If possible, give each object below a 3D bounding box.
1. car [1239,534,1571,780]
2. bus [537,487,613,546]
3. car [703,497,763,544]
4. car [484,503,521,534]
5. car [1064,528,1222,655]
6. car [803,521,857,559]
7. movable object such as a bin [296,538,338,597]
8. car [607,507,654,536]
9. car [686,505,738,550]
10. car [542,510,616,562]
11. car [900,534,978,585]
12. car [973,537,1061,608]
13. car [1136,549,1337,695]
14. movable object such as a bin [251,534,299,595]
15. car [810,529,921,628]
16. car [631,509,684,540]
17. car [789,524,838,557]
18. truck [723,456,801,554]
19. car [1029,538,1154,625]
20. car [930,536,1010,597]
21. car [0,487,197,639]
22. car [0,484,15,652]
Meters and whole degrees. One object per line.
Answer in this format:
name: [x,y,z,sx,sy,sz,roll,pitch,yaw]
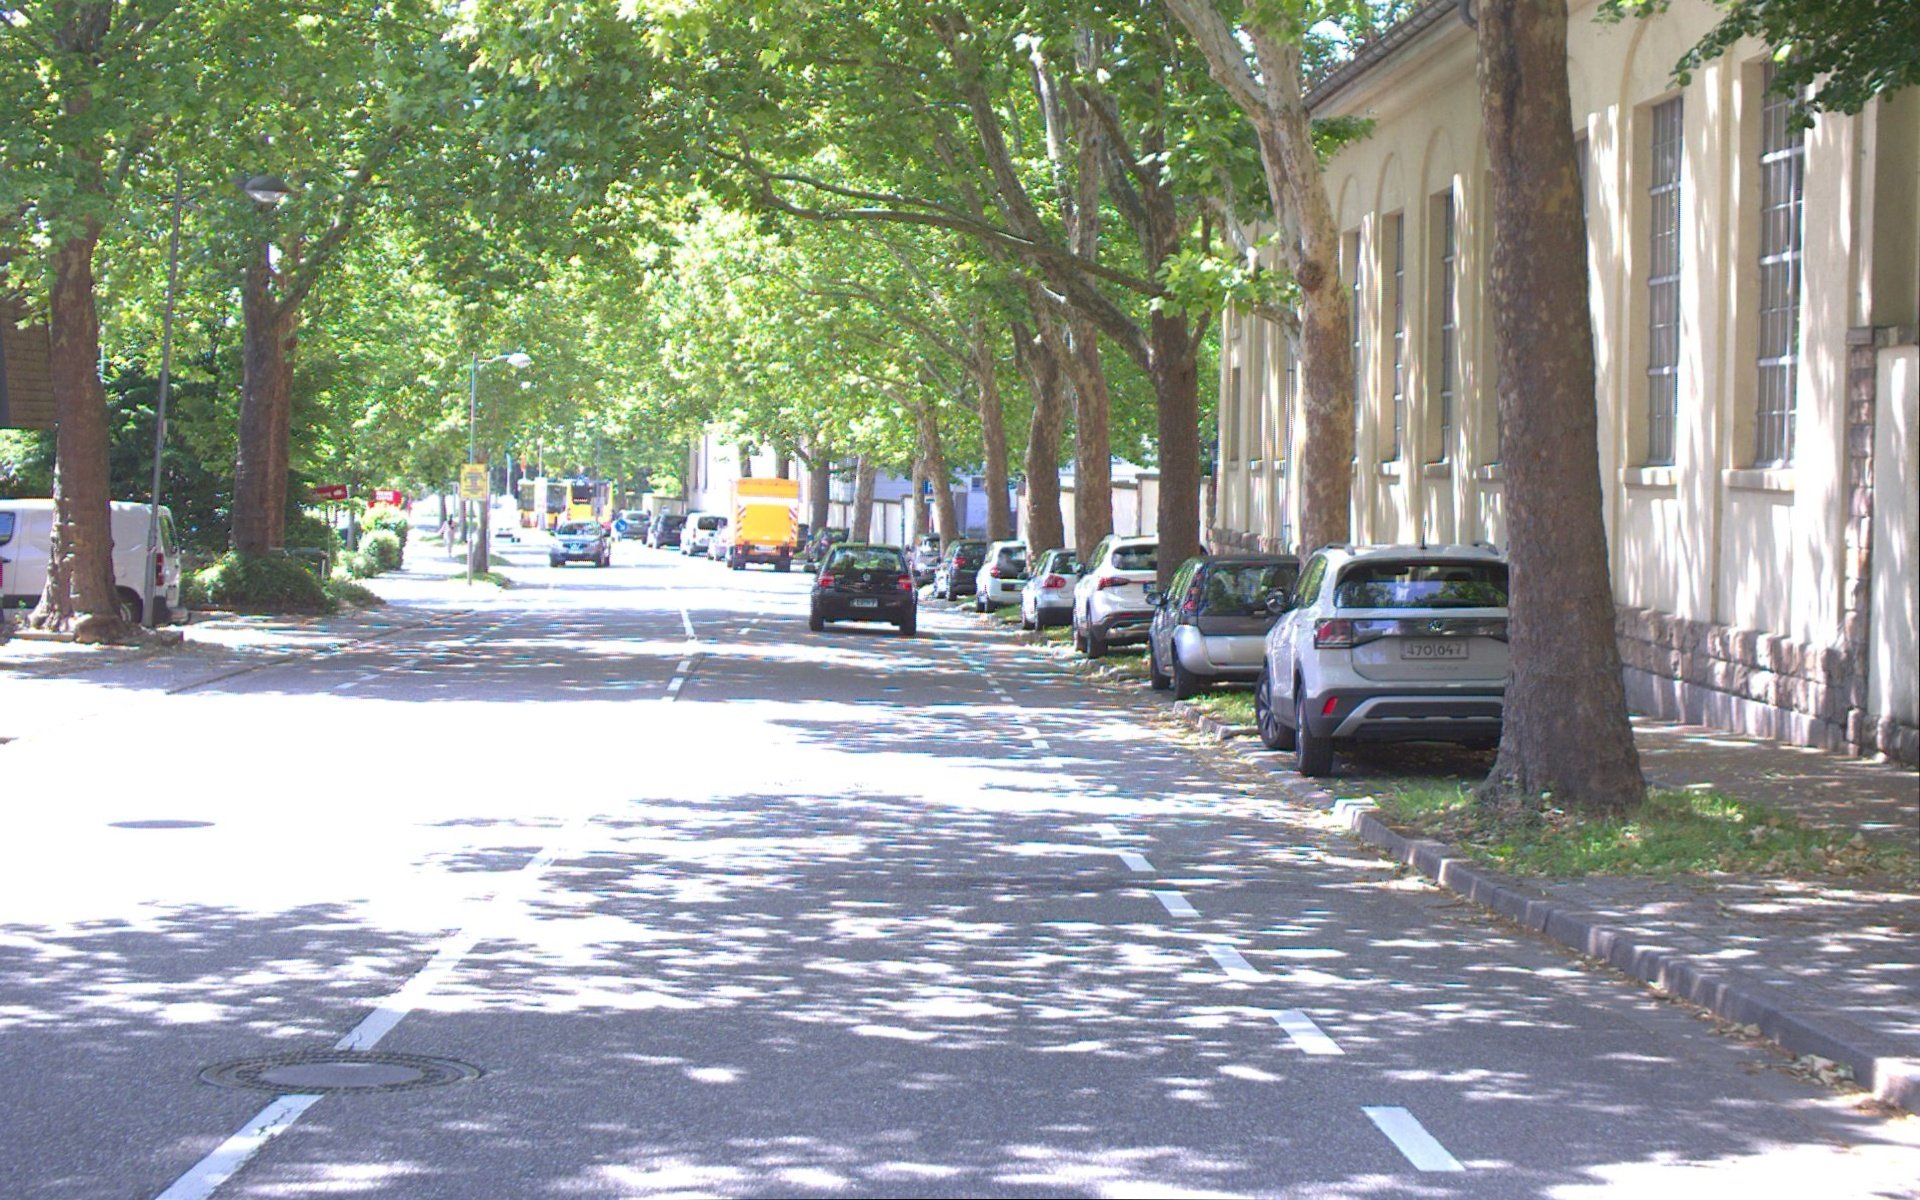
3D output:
car: [3.098,0.327,24.821,1.741,1.552,4.780,0,2,0]
bus: [-21.707,-4.655,193.193,2.663,3.140,11.201,1,1,-14]
car: [-8.744,-3.051,132.218,1.879,1.680,4.001,2,0,-9]
car: [-21.927,-3.897,164.868,1.710,1.442,4.059,1,1,-7]
car: [2.513,-0.158,48.236,1.807,1.683,4.752,0,1,-2]
car: [-4.966,-2.281,130.968,1.766,1.369,3.731,2,1,-7]
movable object such as a bin: [-11.681,-0.601,62.468,0.623,1.045,0.620,2,1,0]
car: [-16.027,-3.798,167.032,1.766,1.369,3.731,0,1,-14]
car: [-10.156,-2.954,140.555,1.879,1.680,4.001,2,0,-7]
car: [-13.105,-2.201,118.550,1.993,1.660,4.000,2,0,1]
car: [-0.590,-1.145,95.393,1.766,1.369,3.731,0,1,-6]
car: [1.191,-0.613,73.216,1.577,1.461,3.876,0,1,-3]
car: [2.855,0.186,36.306,1.621,1.435,4.433,0,1,-2]
movable object such as a bin: [-12.427,-0.641,62.368,0.734,1.074,0.701,2,1,-2]
car: [-1.578,-0.381,56.213,1.711,1.442,4.059,1,2,-3]
car: [-13.609,-3.372,154.318,1.766,1.369,3.731,0,1,-15]
car: [-6.156,-2.495,143.884,1.766,1.369,3.731,0,1,-6]
truck: [-6.845,-3.238,118.334,2.370,3.123,5.770,2,0,-6]
car: [2.211,-0.339,58.892,1.766,1.428,3.876,0,1,-3]
car: [0.226,-0.854,85.769,1.766,1.461,3.876,0,1,-3]
car: [-12.087,-0.535,44.211,4.128,1.798,1.903,3,1,-4]
car: [-12.397,-0.451,36.058,4.422,1.798,1.903,3,1,-4]
